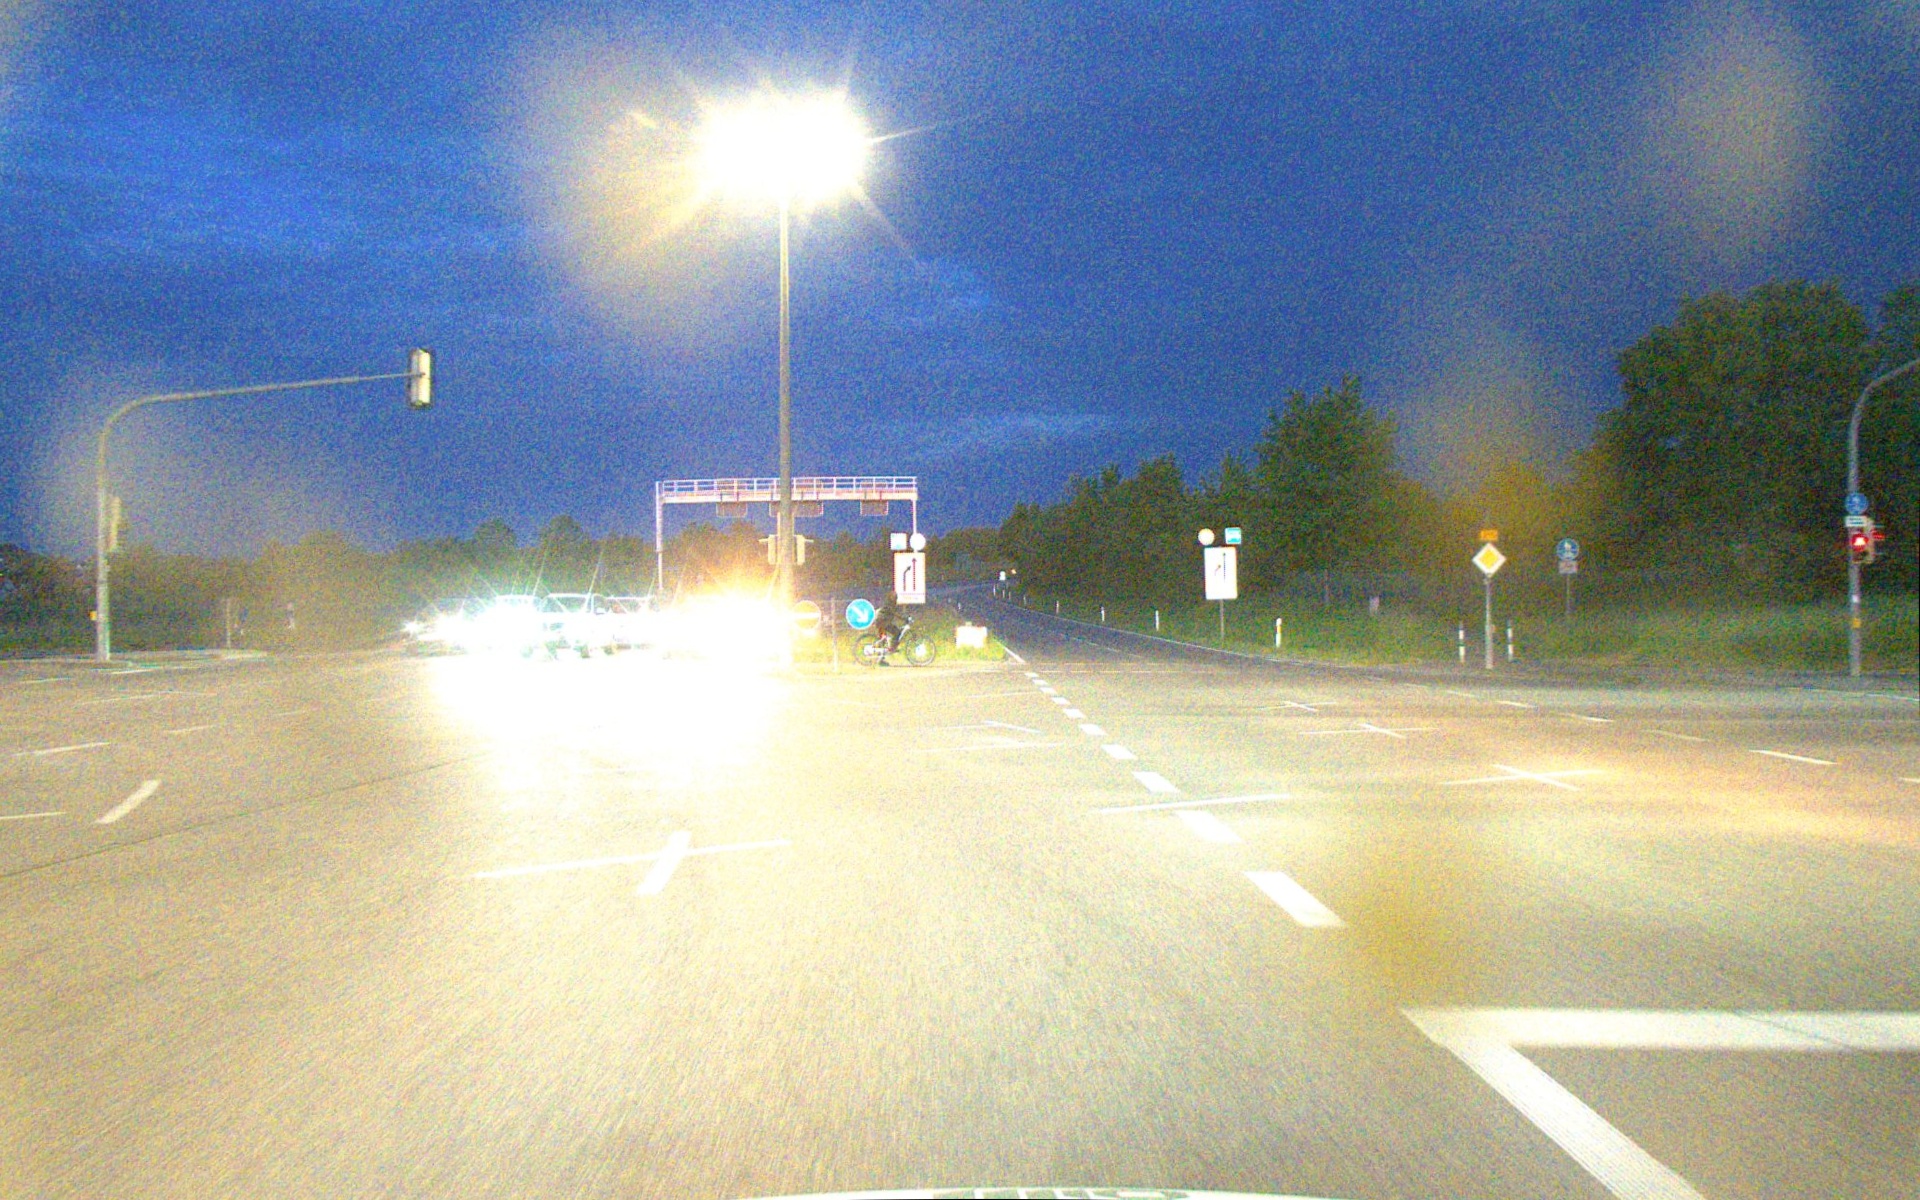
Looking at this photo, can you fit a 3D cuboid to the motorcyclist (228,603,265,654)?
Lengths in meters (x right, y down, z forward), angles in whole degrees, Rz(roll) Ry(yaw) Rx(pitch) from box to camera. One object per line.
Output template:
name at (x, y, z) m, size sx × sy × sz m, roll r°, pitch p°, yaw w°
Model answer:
motorcyclist at (-27.004, 1.083, 62.596) m, size 0.895 × 1.840 × 0.870 m, roll -5°, pitch -3°, yaw 2°

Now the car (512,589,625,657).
car at (-10.448, 0.568, 44.424) m, size 1.869 × 1.711 × 4.421 m, roll 1°, pitch 0°, yaw 1°

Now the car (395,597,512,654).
car at (-13.857, 0.658, 45.489) m, size 1.743 × 1.471 × 4.292 m, roll 1°, pitch 0°, yaw 2°

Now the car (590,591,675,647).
car at (-10.190, 0.548, 51.763) m, size 1.709 × 1.655 × 4.363 m, roll 0°, pitch 0°, yaw 1°

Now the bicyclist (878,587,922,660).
bicyclist at (-1.403, 0.539, 38.483) m, size 0.977 × 1.680 × 0.603 m, roll 0°, pitch -1°, yaw -6°

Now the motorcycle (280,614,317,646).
motorcycle at (-26.722, 1.222, 66.871) m, size 0.831 × 1.202 × 1.819 m, roll -4°, pitch -2°, yaw -5°

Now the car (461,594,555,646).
car at (-14.102, 0.586, 51.825) m, size 1.794 × 1.551 × 4.000 m, roll 0°, pitch 0°, yaw 0°

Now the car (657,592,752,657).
car at (-6.842, 0.617, 44.701) m, size 1.813 × 1.661 × 4.585 m, roll 0°, pitch 0°, yaw 1°

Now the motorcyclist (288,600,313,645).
motorcyclist at (-26.745, 0.917, 67.050) m, size 0.669 × 1.790 × 0.789 m, roll -4°, pitch -2°, yaw -6°

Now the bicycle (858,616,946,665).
bicycle at (-1.357, 0.939, 38.470) m, size 2.021 × 1.120 × 0.694 m, roll 0°, pitch -1°, yaw -6°

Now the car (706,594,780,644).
car at (-6.830, 0.584, 52.405) m, size 1.736 × 1.507 × 3.911 m, roll 1°, pitch 0°, yaw 1°
